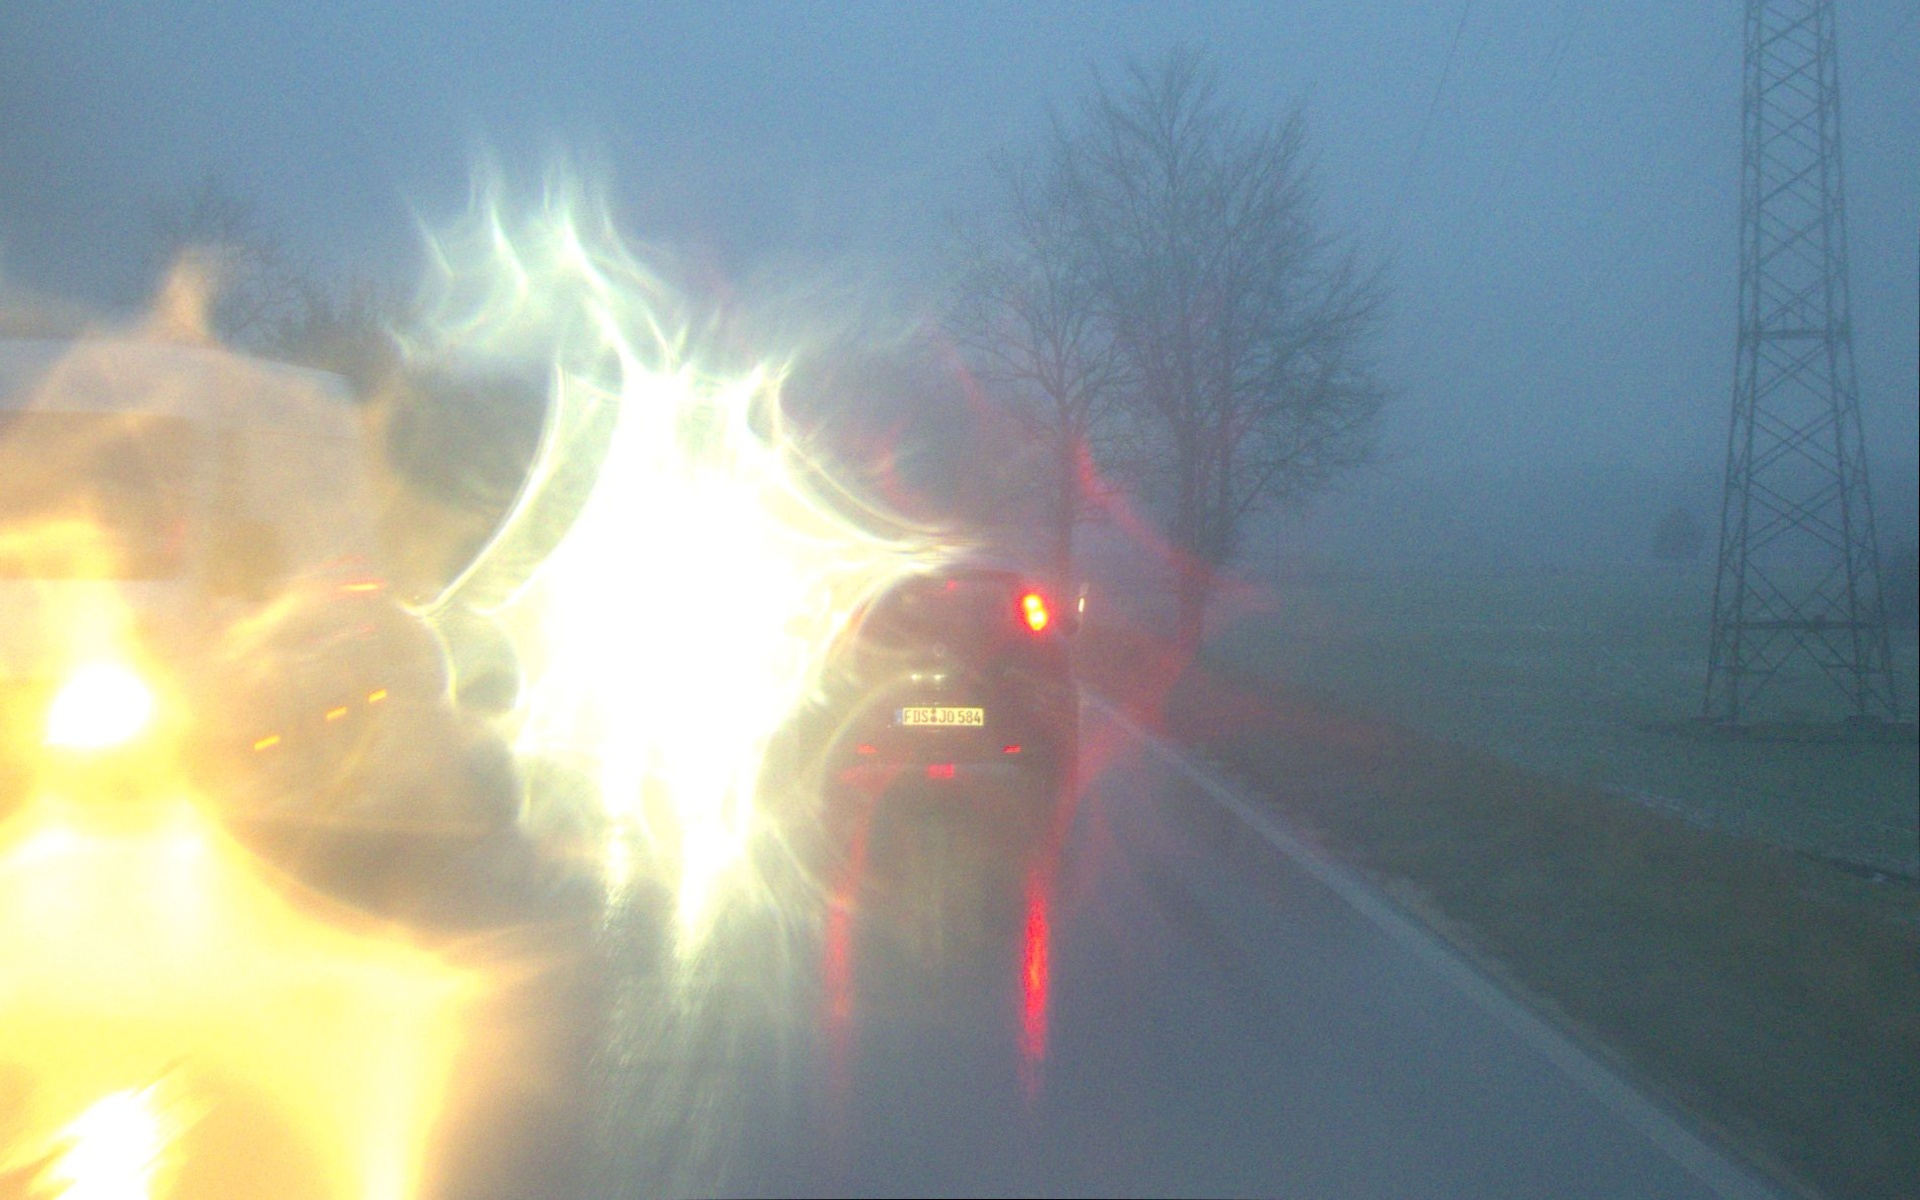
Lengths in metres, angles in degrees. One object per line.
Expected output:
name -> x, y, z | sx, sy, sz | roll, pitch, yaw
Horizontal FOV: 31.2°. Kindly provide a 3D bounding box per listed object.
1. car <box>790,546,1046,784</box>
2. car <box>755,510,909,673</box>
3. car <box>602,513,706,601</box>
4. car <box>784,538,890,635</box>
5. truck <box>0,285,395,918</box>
car -> -0.256, 0.360, 21.955 | 1.500, 1.393, 3.200 | 1, 1, 0
car -> -1.621, -0.130, 44.678 | 1.852, 2.007, 4.000 | 1, 1, 0
car -> -6.227, -0.898, 70.288 | 1.785, 1.745, 4.258 | 0, 1, -1
car -> -2.275, -0.288, 63.403 | 1.863, 1.694, 4.468 | 0, 1, -2
truck -> -4.145, -0.039, 16.077 | 2.238, 2.459, 5.374 | 1, 1, -1
